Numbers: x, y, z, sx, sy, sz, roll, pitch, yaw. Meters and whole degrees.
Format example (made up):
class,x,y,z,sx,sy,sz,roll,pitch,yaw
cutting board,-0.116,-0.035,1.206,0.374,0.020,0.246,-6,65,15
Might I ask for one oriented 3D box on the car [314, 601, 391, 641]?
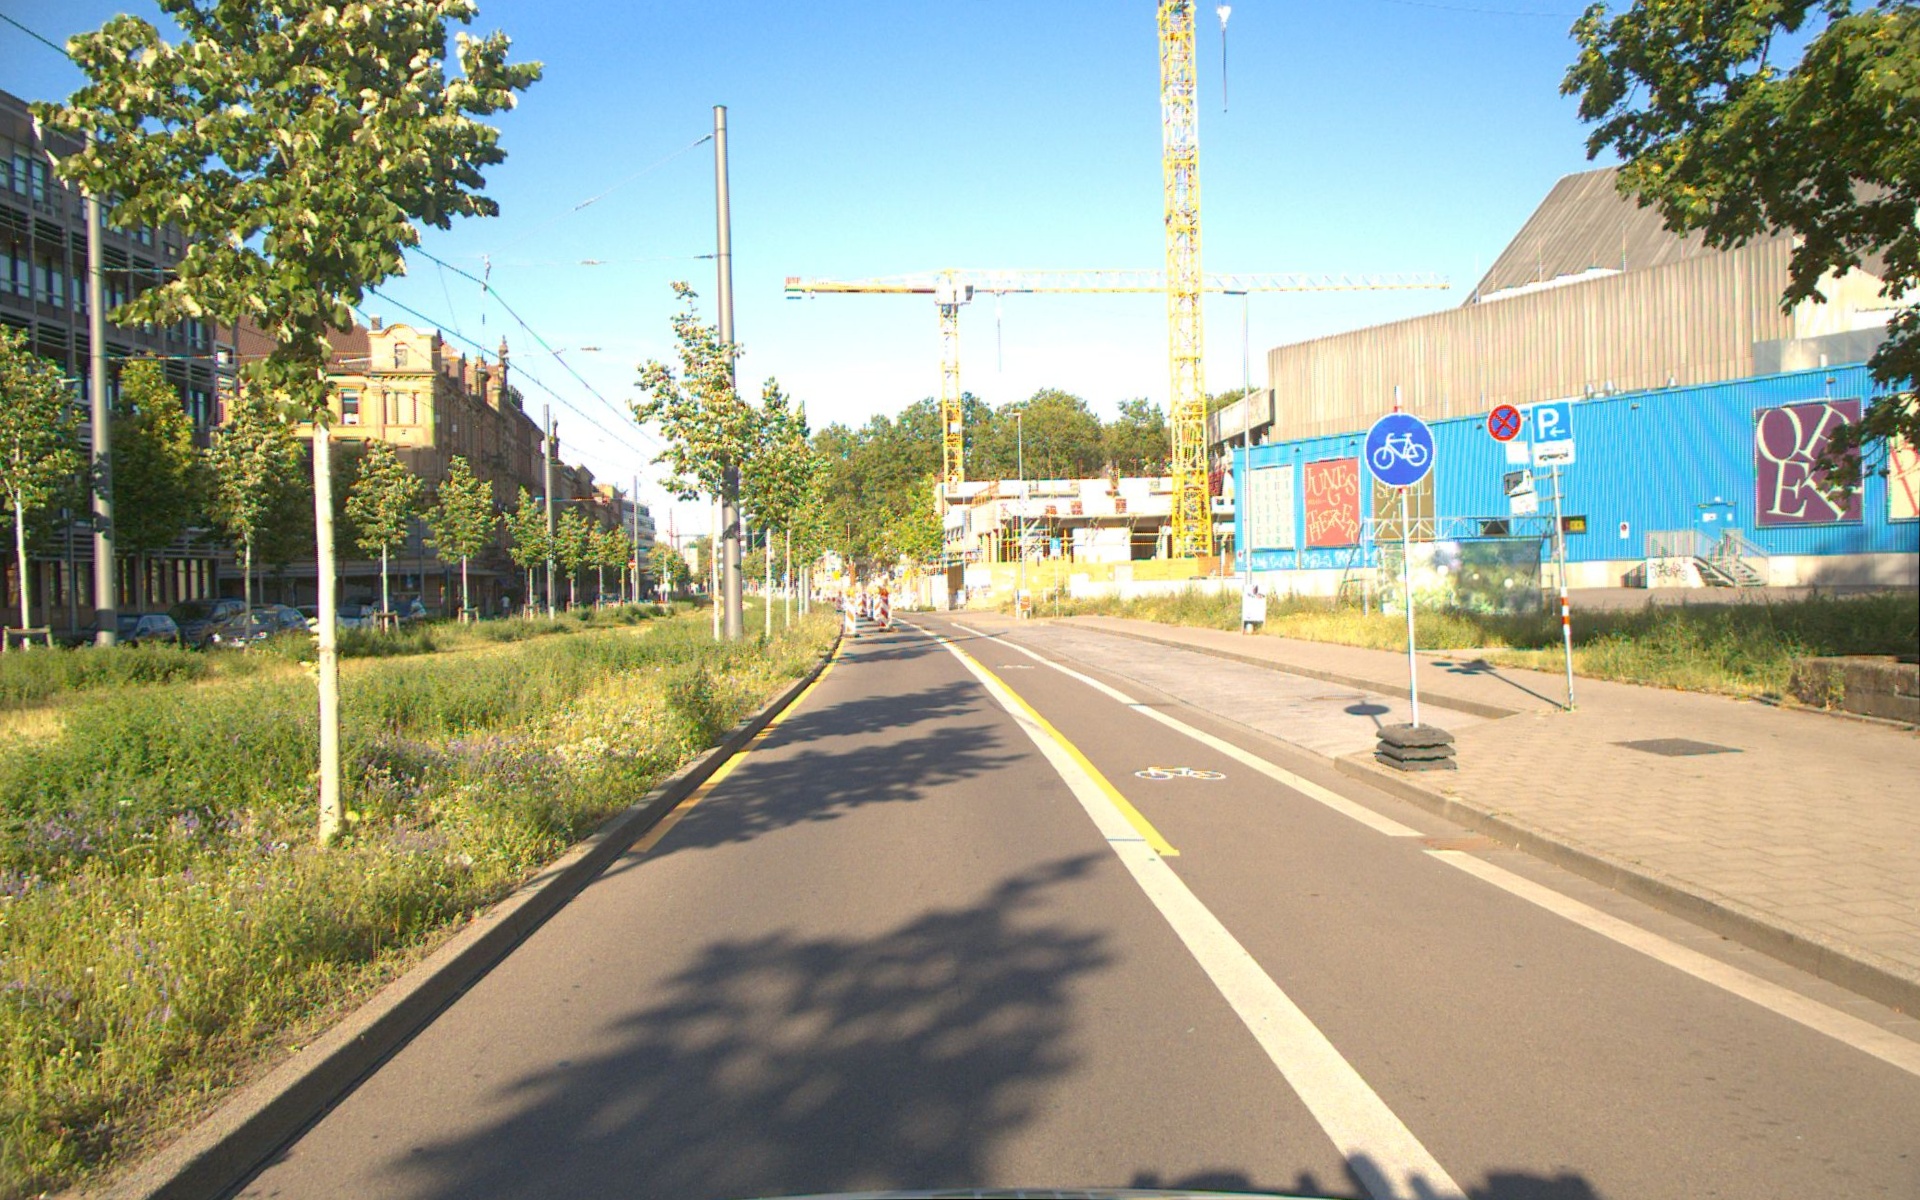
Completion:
class,x,y,z,sx,sy,sz,roll,pitch,yaw
car,-26.813,0.884,73.170,1.865,1.602,4.300,-2,1,-1

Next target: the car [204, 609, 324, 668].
class,x,y,z,sx,sy,sz,roll,pitch,yaw
car,-21.177,1.137,50.505,1.865,1.602,4.300,-2,1,-1

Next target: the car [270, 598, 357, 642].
class,x,y,z,sx,sy,sz,roll,pitch,yaw
car,-26.279,0.780,67.366,1.865,1.602,4.300,-2,1,-1

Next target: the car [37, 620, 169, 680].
class,x,y,z,sx,sy,sz,roll,pitch,yaw
car,-26.307,1.494,50.954,1.865,1.602,4.300,-2,1,-1

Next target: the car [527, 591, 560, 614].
class,x,y,z,sx,sy,sz,roll,pitch,yaw
car,-30.886,0.173,122.831,1.868,1.602,4.293,-2,1,-8

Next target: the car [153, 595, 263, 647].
class,x,y,z,sx,sy,sz,roll,pitch,yaw
car,-25.853,0.692,57.024,1.865,1.602,4.300,-2,1,-1

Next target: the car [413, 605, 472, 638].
class,x,y,z,sx,sy,sz,roll,pitch,yaw
car,-27.796,1.132,88.913,1.865,1.602,4.300,-2,1,-1

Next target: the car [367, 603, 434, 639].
class,x,y,z,sx,sy,sz,roll,pitch,yaw
car,-27.283,1.007,80.756,1.865,1.602,4.300,-2,1,-1

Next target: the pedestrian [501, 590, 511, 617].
class,x,y,z,sx,sy,sz,roll,pitch,yaw
pedestrian,-33.337,0.249,121.404,0.540,1.981,0.649,-2,0,-9

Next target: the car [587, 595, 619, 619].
class,x,y,z,sx,sy,sz,roll,pitch,yaw
car,-26.142,0.500,121.212,1.868,1.602,4.293,-2,1,-8

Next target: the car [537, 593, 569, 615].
class,x,y,z,sx,sy,sz,roll,pitch,yaw
car,-31.501,0.326,128.092,1.868,1.602,4.293,-2,1,-8
